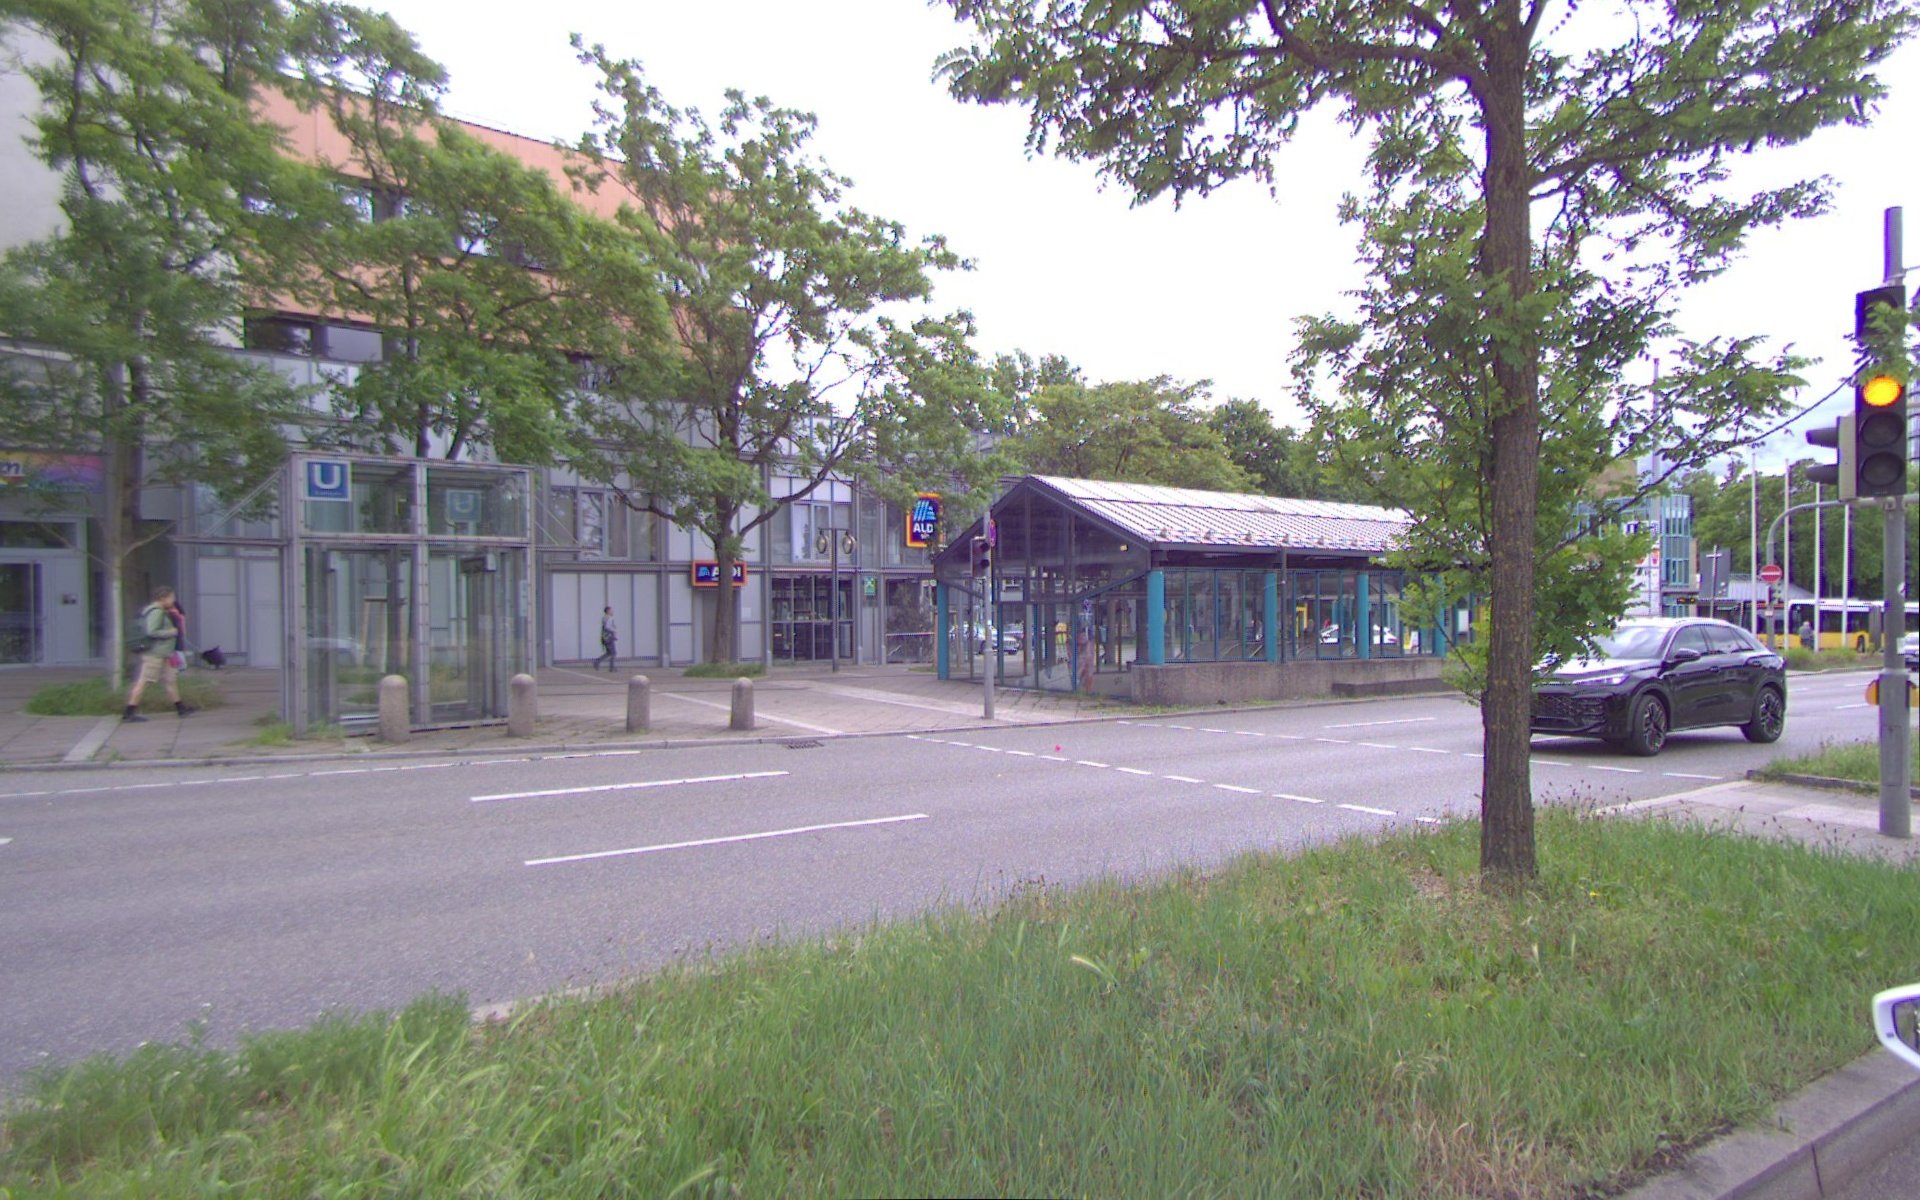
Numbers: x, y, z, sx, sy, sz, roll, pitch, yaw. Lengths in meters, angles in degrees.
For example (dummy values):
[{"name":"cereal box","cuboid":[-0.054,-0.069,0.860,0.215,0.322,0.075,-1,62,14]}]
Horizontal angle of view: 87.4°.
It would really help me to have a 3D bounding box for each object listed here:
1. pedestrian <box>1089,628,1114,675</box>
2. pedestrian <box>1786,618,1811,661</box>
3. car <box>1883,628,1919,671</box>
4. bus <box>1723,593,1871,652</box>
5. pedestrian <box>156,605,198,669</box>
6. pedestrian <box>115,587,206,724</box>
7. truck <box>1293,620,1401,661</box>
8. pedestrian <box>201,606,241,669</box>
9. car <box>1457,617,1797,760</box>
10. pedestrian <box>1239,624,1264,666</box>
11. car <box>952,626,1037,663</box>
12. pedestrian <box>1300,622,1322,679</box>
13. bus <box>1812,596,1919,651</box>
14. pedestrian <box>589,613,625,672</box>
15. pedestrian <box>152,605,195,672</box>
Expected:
[{"name":"pedestrian","cuboid":[5.107,1.851,36.280,0.703,1.677,0.517,1,-1,-37]},{"name":"pedestrian","cuboid":[38.111,1.791,45.655,0.677,1.922,0.658,1,-1,-30]},{"name":"car","cuboid":[37.562,1.911,39.170,3.316,1.599,1.673,1,-1,-36]},{"name":"bus","cuboid":[49.936,1.378,59.831,10.036,3.293,2.980,1,-1,-26]},{"name":"pedestrian","cuboid":[-17.222,0.812,22.108,0.689,1.393,0.578,1,-1,-37]},{"name":"pedestrian","cuboid":[-11.192,0.764,14.069,0.530,1.857,0.916,0,-1,44]},{"name":"truck","cuboid":[15.640,1.601,40.606,3.926,1.537,1.998,0,-1,27]},{"name":"pedestrian","cuboid":[-16.525,0.835,22.474,0.689,1.393,0.578,1,-1,-37]},{"name":"car","cuboid":[8.389,1.006,12.612,4.019,1.541,1.829,1,-2,-27]},{"name":"pedestrian","cuboid":[11.512,1.771,39.673,0.654,1.591,0.630,2,0,-33]},{"name":"car","cuboid":[1.663,2.191,50.382,1.769,1.710,4.838,1,-1,-33]},{"name":"pedestrian","cuboid":[11.305,1.620,32.362,0.520,1.786,0.756,0,-1,8]},{"name":"bus","cuboid":[57.933,1.540,63.772,7.771,3.313,2.980,1,-1,-26]},{"name":"pedestrian","cuboid":[-9.076,1.091,25.839,0.748,1.499,0.525,1,-1,-36]},{"name":"pedestrian","cuboid":[-16.860,0.821,21.540,0.689,1.393,0.578,1,-1,-37]}]
